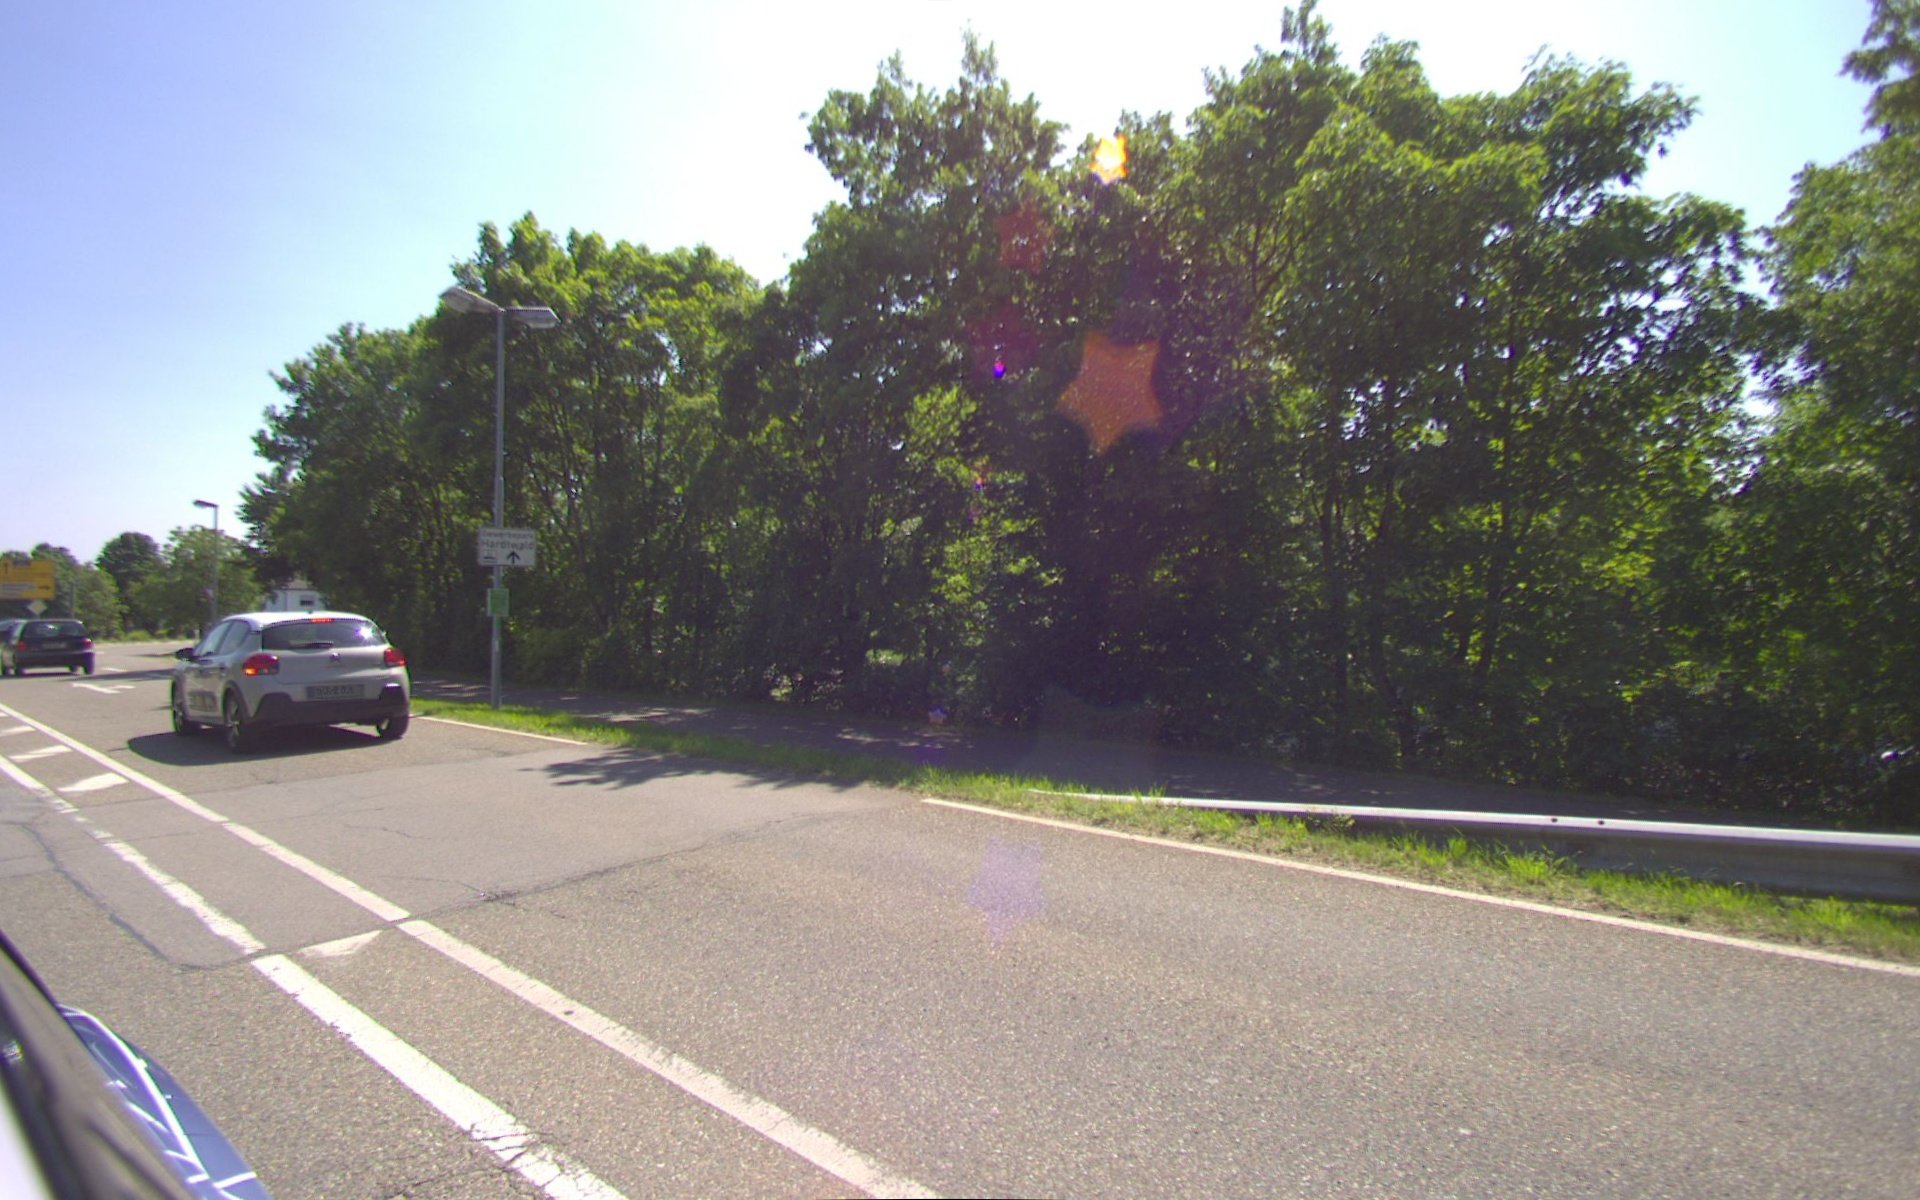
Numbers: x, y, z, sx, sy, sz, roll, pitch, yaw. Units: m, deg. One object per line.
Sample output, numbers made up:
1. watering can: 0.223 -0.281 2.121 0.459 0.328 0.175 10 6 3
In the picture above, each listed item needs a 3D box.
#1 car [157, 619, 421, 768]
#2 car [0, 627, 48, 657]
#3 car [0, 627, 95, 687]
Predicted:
1. car: -8.044 0.985 12.000 3.888 1.467 1.721 -2 -2 42
2. car: -57.006 2.500 59.812 1.735 1.658 4.349 -4 -2 18
3. car: -23.901 1.437 26.430 3.433 1.415 1.609 -1 -1 43
